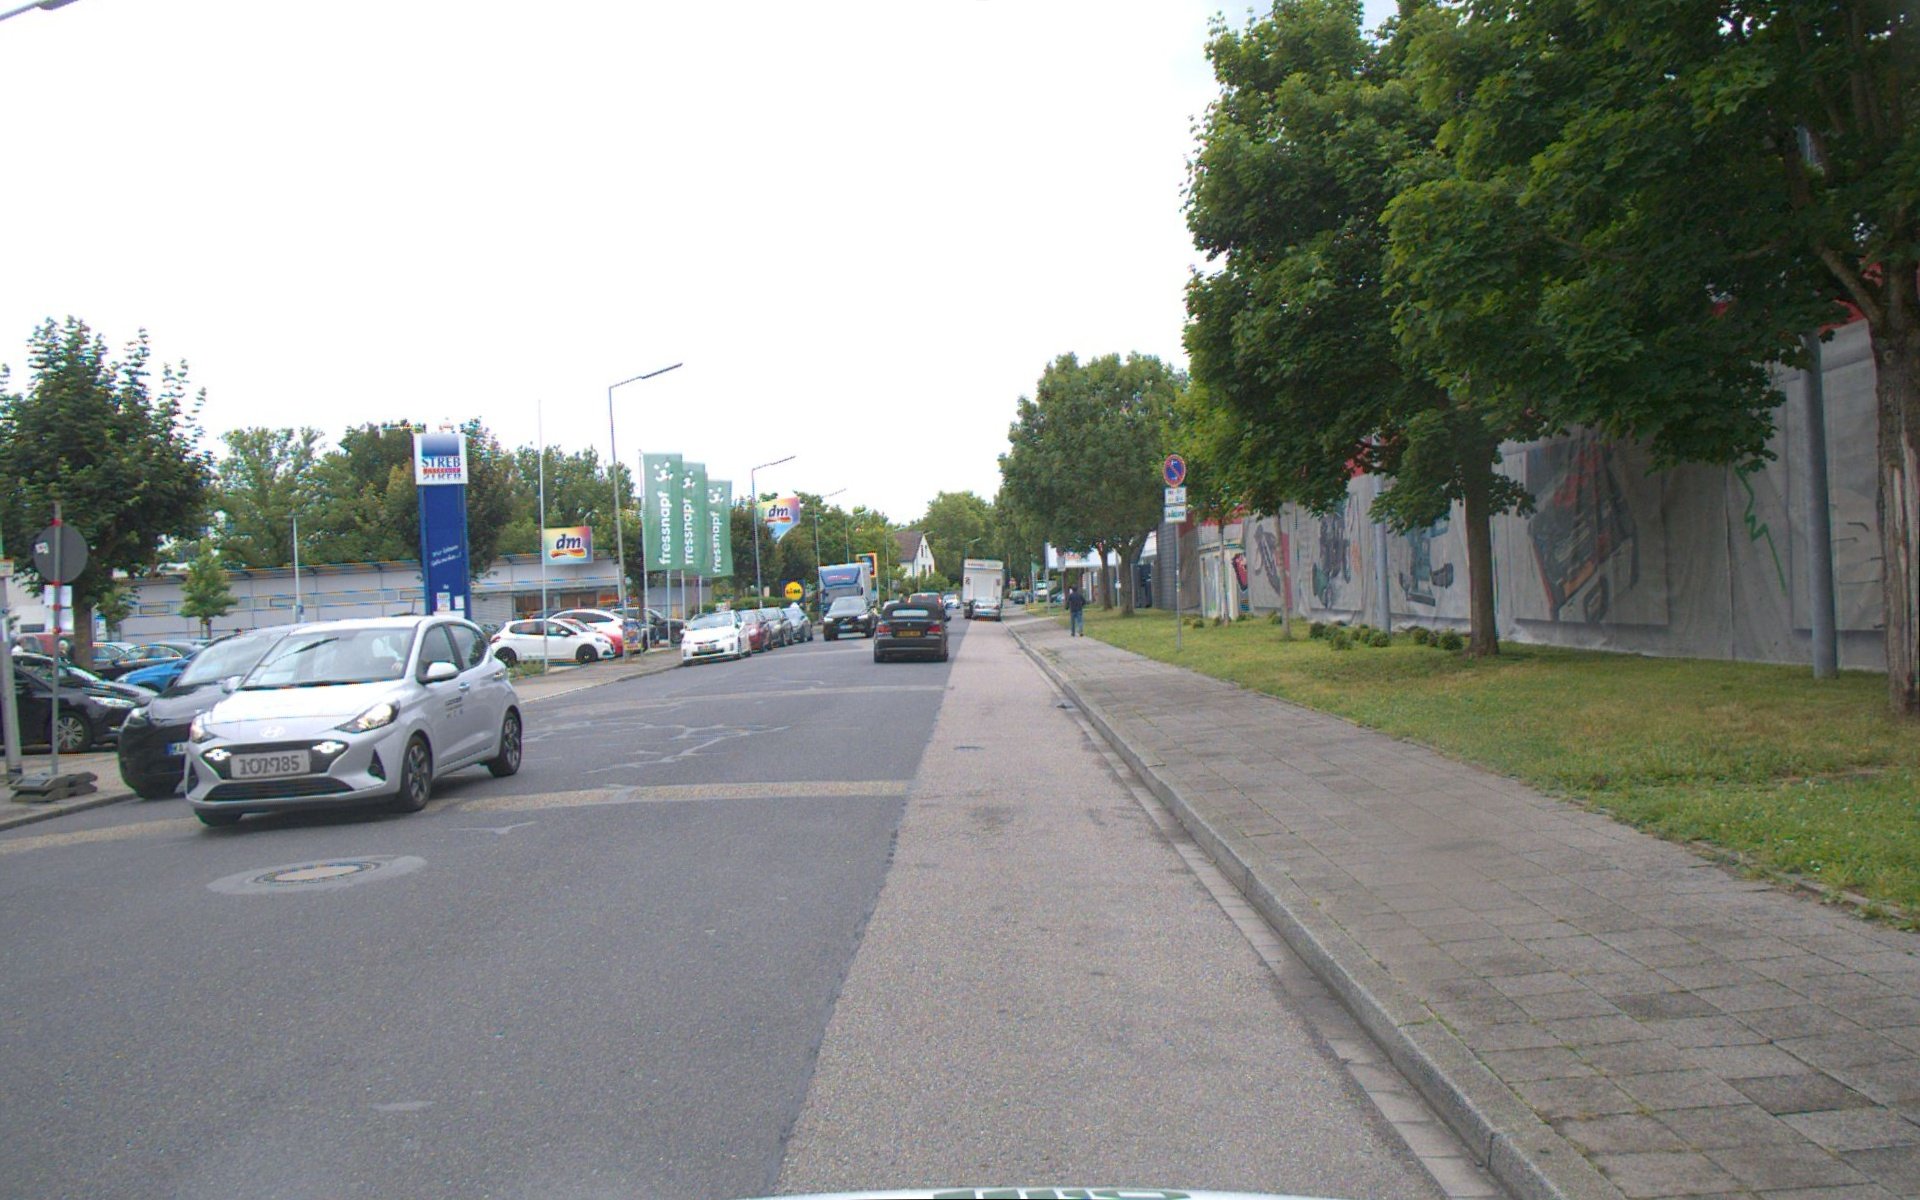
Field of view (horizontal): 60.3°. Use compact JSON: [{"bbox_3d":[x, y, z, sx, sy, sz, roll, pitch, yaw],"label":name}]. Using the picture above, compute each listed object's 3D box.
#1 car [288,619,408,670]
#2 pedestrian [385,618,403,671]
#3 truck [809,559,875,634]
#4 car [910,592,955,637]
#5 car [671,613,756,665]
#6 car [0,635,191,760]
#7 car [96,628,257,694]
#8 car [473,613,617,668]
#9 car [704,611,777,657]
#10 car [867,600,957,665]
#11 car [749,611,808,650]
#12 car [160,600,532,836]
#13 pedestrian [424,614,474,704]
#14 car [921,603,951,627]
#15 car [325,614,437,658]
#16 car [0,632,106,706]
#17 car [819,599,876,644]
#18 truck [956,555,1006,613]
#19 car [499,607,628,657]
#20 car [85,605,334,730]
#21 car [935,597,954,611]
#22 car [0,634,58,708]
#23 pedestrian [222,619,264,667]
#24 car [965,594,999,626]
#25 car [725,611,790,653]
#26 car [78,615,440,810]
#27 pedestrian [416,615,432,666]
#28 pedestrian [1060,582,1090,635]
[{"bbox_3d":[-23.857,1.716,64.543,3.905,1.698,1.876,-3,0,1],"label":"car"},{"bbox_3d":[-18.035,1.424,52.730,0.448,1.670,0.373,-3,0,-17],"label":"pedestrian"},{"bbox_3d":[-6.814,-0.214,96.329,2.913,4.024,6.405,-5,0,1],"label":"truck"},{"bbox_3d":[-1.122,0.563,66.263,1.647,1.660,3.757,-3,0,-2],"label":"car"},{"bbox_3d":[-7.463,1.158,50.409,1.859,1.391,4.000,-3,0,1],"label":"car"},{"bbox_3d":[-13.642,1.426,24.241,3.794,1.649,1.928,-2,0,1],"label":"car"},{"bbox_3d":[-23.864,1.854,50.473,3.905,1.698,1.876,-3,0,1],"label":"car"},{"bbox_3d":[-13.164,1.277,52.673,4.123,1.488,1.950,-3,0,-7],"label":"car"},{"bbox_3d":[-7.533,1.147,57.015,1.859,1.391,4.000,-3,0,1],"label":"car"},{"bbox_3d":[-1.099,0.741,39.527,1.709,1.382,4.139,-3,0,4],"label":"car"},{"bbox_3d":[-7.480,1.239,68.387,1.859,1.391,4.000,-3,0,1],"label":"car"},{"bbox_3d":[-4.836,0.853,13.560,1.566,1.554,3.528,-5,0,1],"label":"car"},{"bbox_3d":[-10.312,1.183,33.405,0.760,1.745,0.696,-2,0,-4],"label":"pedestrian"},{"bbox_3d":[-1.601,0.994,112.436,1.847,1.558,4.255,-1,0,1],"label":"car"},{"bbox_3d":[-23.808,1.467,68.112,3.905,1.518,1.786,-3,0,1],"label":"car"},{"bbox_3d":[-24.468,1.824,42.548,3.905,1.698,1.876,-3,0,1],"label":"car"},{"bbox_3d":[-4.454,0.845,65.941,1.953,1.713,3.999,-2,-1,-1],"label":"car"},{"bbox_3d":[1.318,-0.969,110.441,3.071,3.647,10.048,-2,-1,0],"label":"truck"},{"bbox_3d":[-13.781,1.098,57.669,4.055,1.488,1.897,-3,0,-5],"label":"car"},{"bbox_3d":[-14.242,1.246,31.567,3.855,2.048,1.759,-4,0,-6],"label":"car"},{"bbox_3d":[-1.683,0.417,181.885,1.847,1.558,4.255,-1,0,1],"label":"car"},{"bbox_3d":[-24.375,1.802,40.083,3.905,1.698,1.876,-3,0,1],"label":"car"},{"bbox_3d":[-32.095,1.919,74.033,1.375,2.048,1.194,-3,0,-39],"label":"pedestrian"},{"bbox_3d":[1.321,0.603,101.140,1.953,1.837,3.999,-2,-1,-1],"label":"car"},{"bbox_3d":[-7.606,1.194,62.509,1.859,1.391,4.000,-3,0,1],"label":"car"},{"bbox_3d":[-7.294,1.080,17.786,1.908,1.552,4.402,-7,0,-1],"label":"car"},{"bbox_3d":[-17.161,1.303,52.955,0.352,1.597,0.503,-3,0,-10],"label":"pedestrian"},{"bbox_3d":[3.734,0.277,53.677,0.900,1.663,0.853,-2,-1,2],"label":"pedestrian"}]
